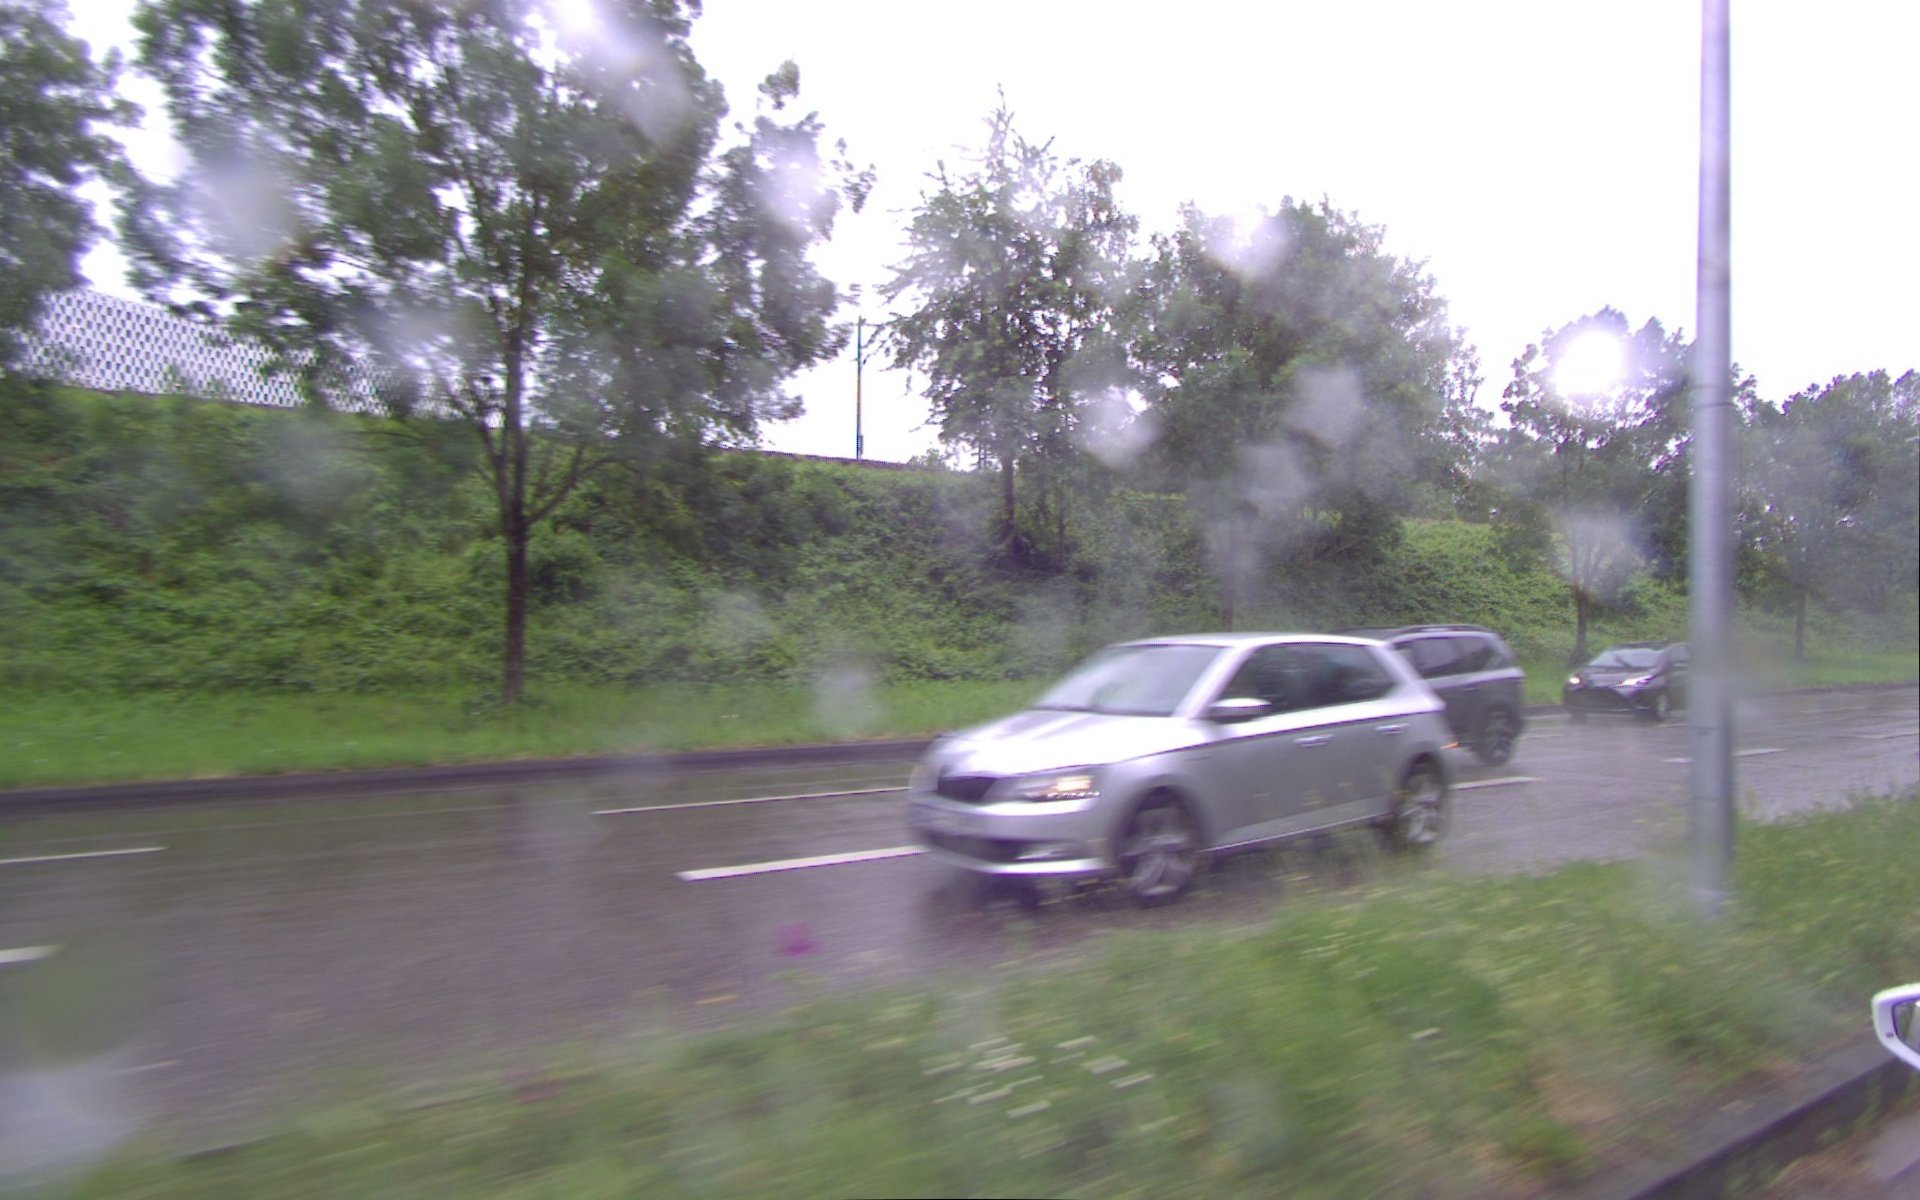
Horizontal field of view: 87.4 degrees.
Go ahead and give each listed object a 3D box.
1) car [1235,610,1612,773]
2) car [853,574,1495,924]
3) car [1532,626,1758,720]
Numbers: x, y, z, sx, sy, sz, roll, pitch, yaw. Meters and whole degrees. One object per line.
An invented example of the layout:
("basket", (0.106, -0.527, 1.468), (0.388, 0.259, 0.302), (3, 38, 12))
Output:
("car", (5.887, 1.064, 12.643), (4.653, 1.709, 1.985), (1, -3, -30))
("car", (1.523, 0.815, 6.666), (4.069, 1.634, 1.887), (2, -4, -34))
("car", (13.936, 1.421, 20.389), (4.653, 1.710, 1.985), (1, -3, -30))
